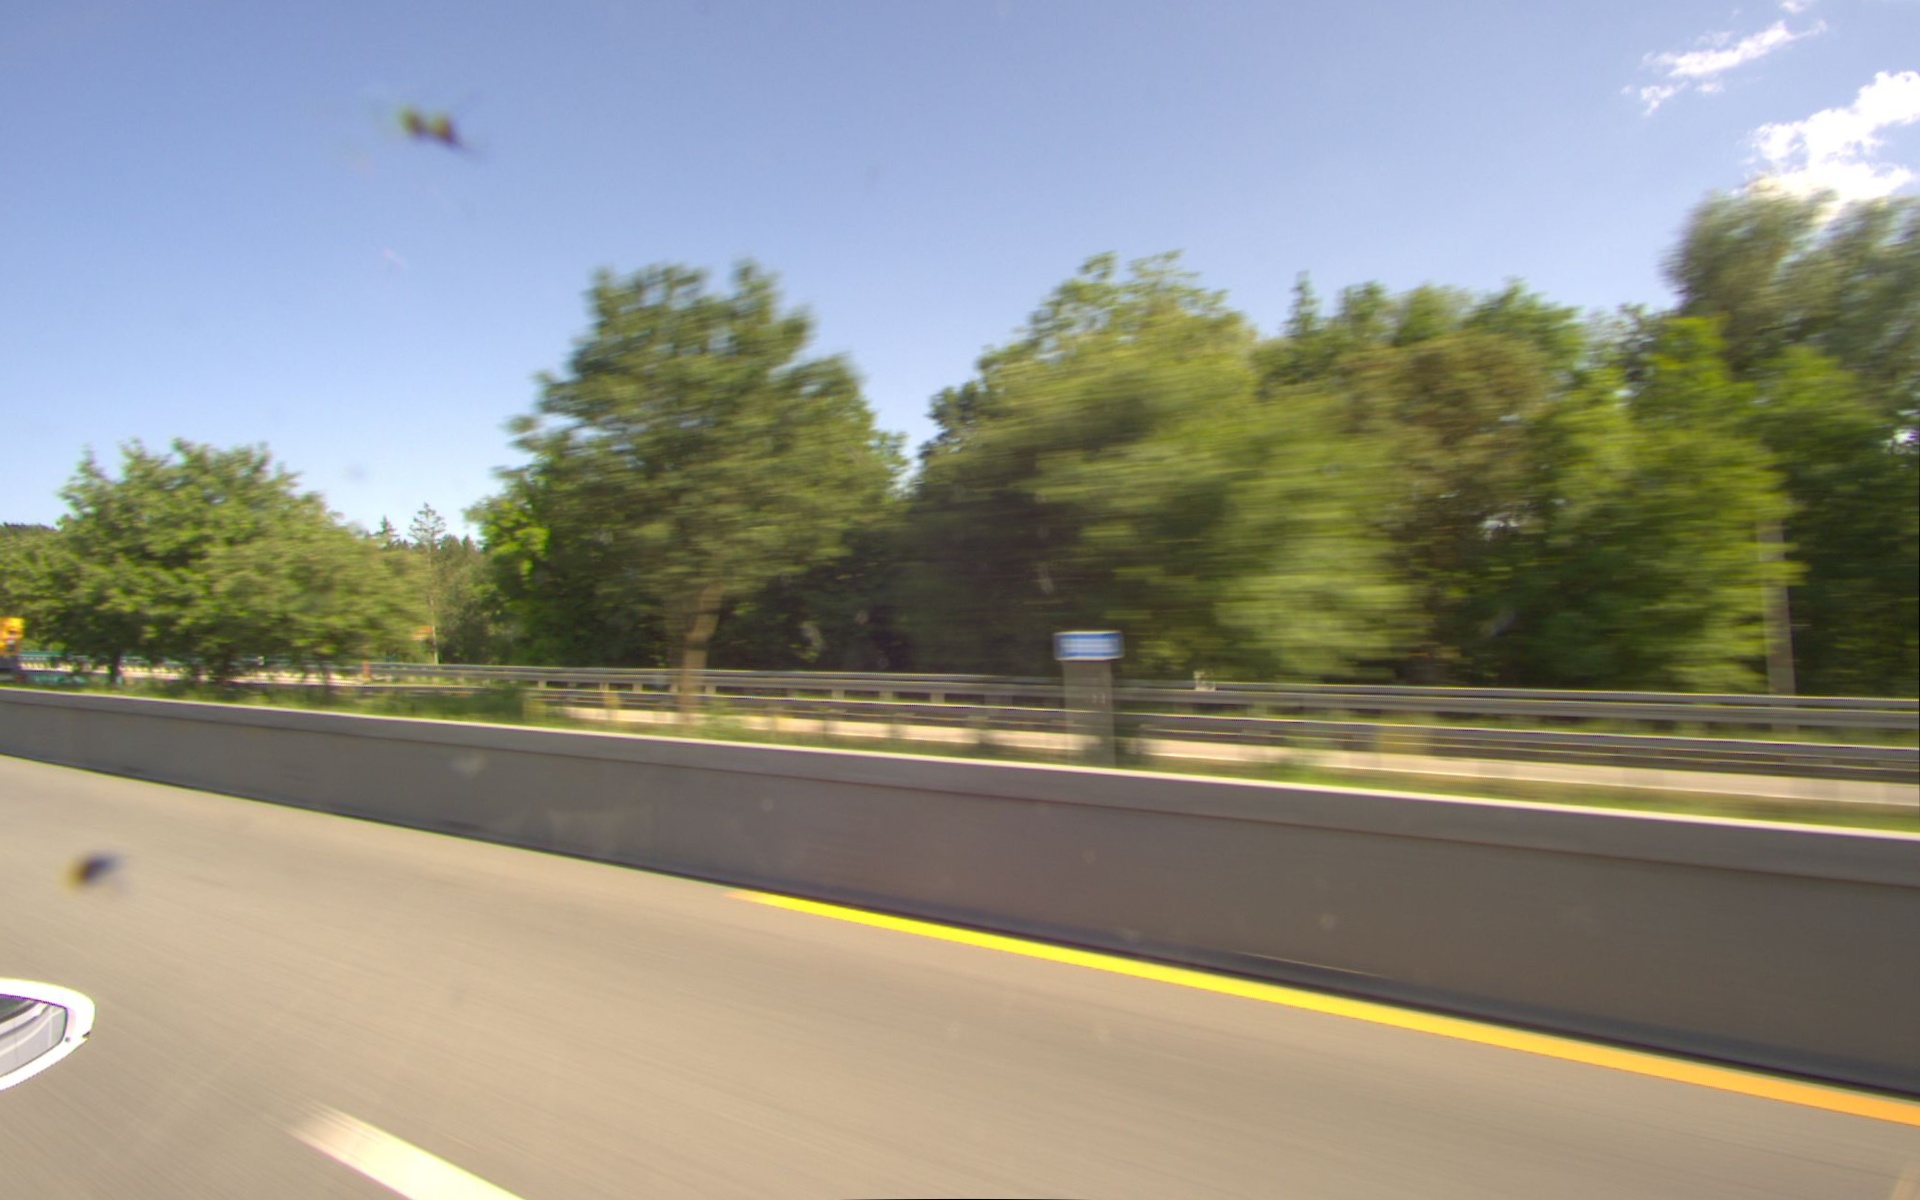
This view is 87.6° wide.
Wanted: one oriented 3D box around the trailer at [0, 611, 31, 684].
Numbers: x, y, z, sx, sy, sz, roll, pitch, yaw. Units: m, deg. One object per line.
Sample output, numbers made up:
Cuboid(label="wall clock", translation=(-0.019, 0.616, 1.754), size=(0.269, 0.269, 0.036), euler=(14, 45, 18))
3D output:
Cuboid(label="trailer", translation=(-26.764, 1.270, 27.202), size=(3.941, 1.898, 1.123), euler=(-1, 0, 31))
